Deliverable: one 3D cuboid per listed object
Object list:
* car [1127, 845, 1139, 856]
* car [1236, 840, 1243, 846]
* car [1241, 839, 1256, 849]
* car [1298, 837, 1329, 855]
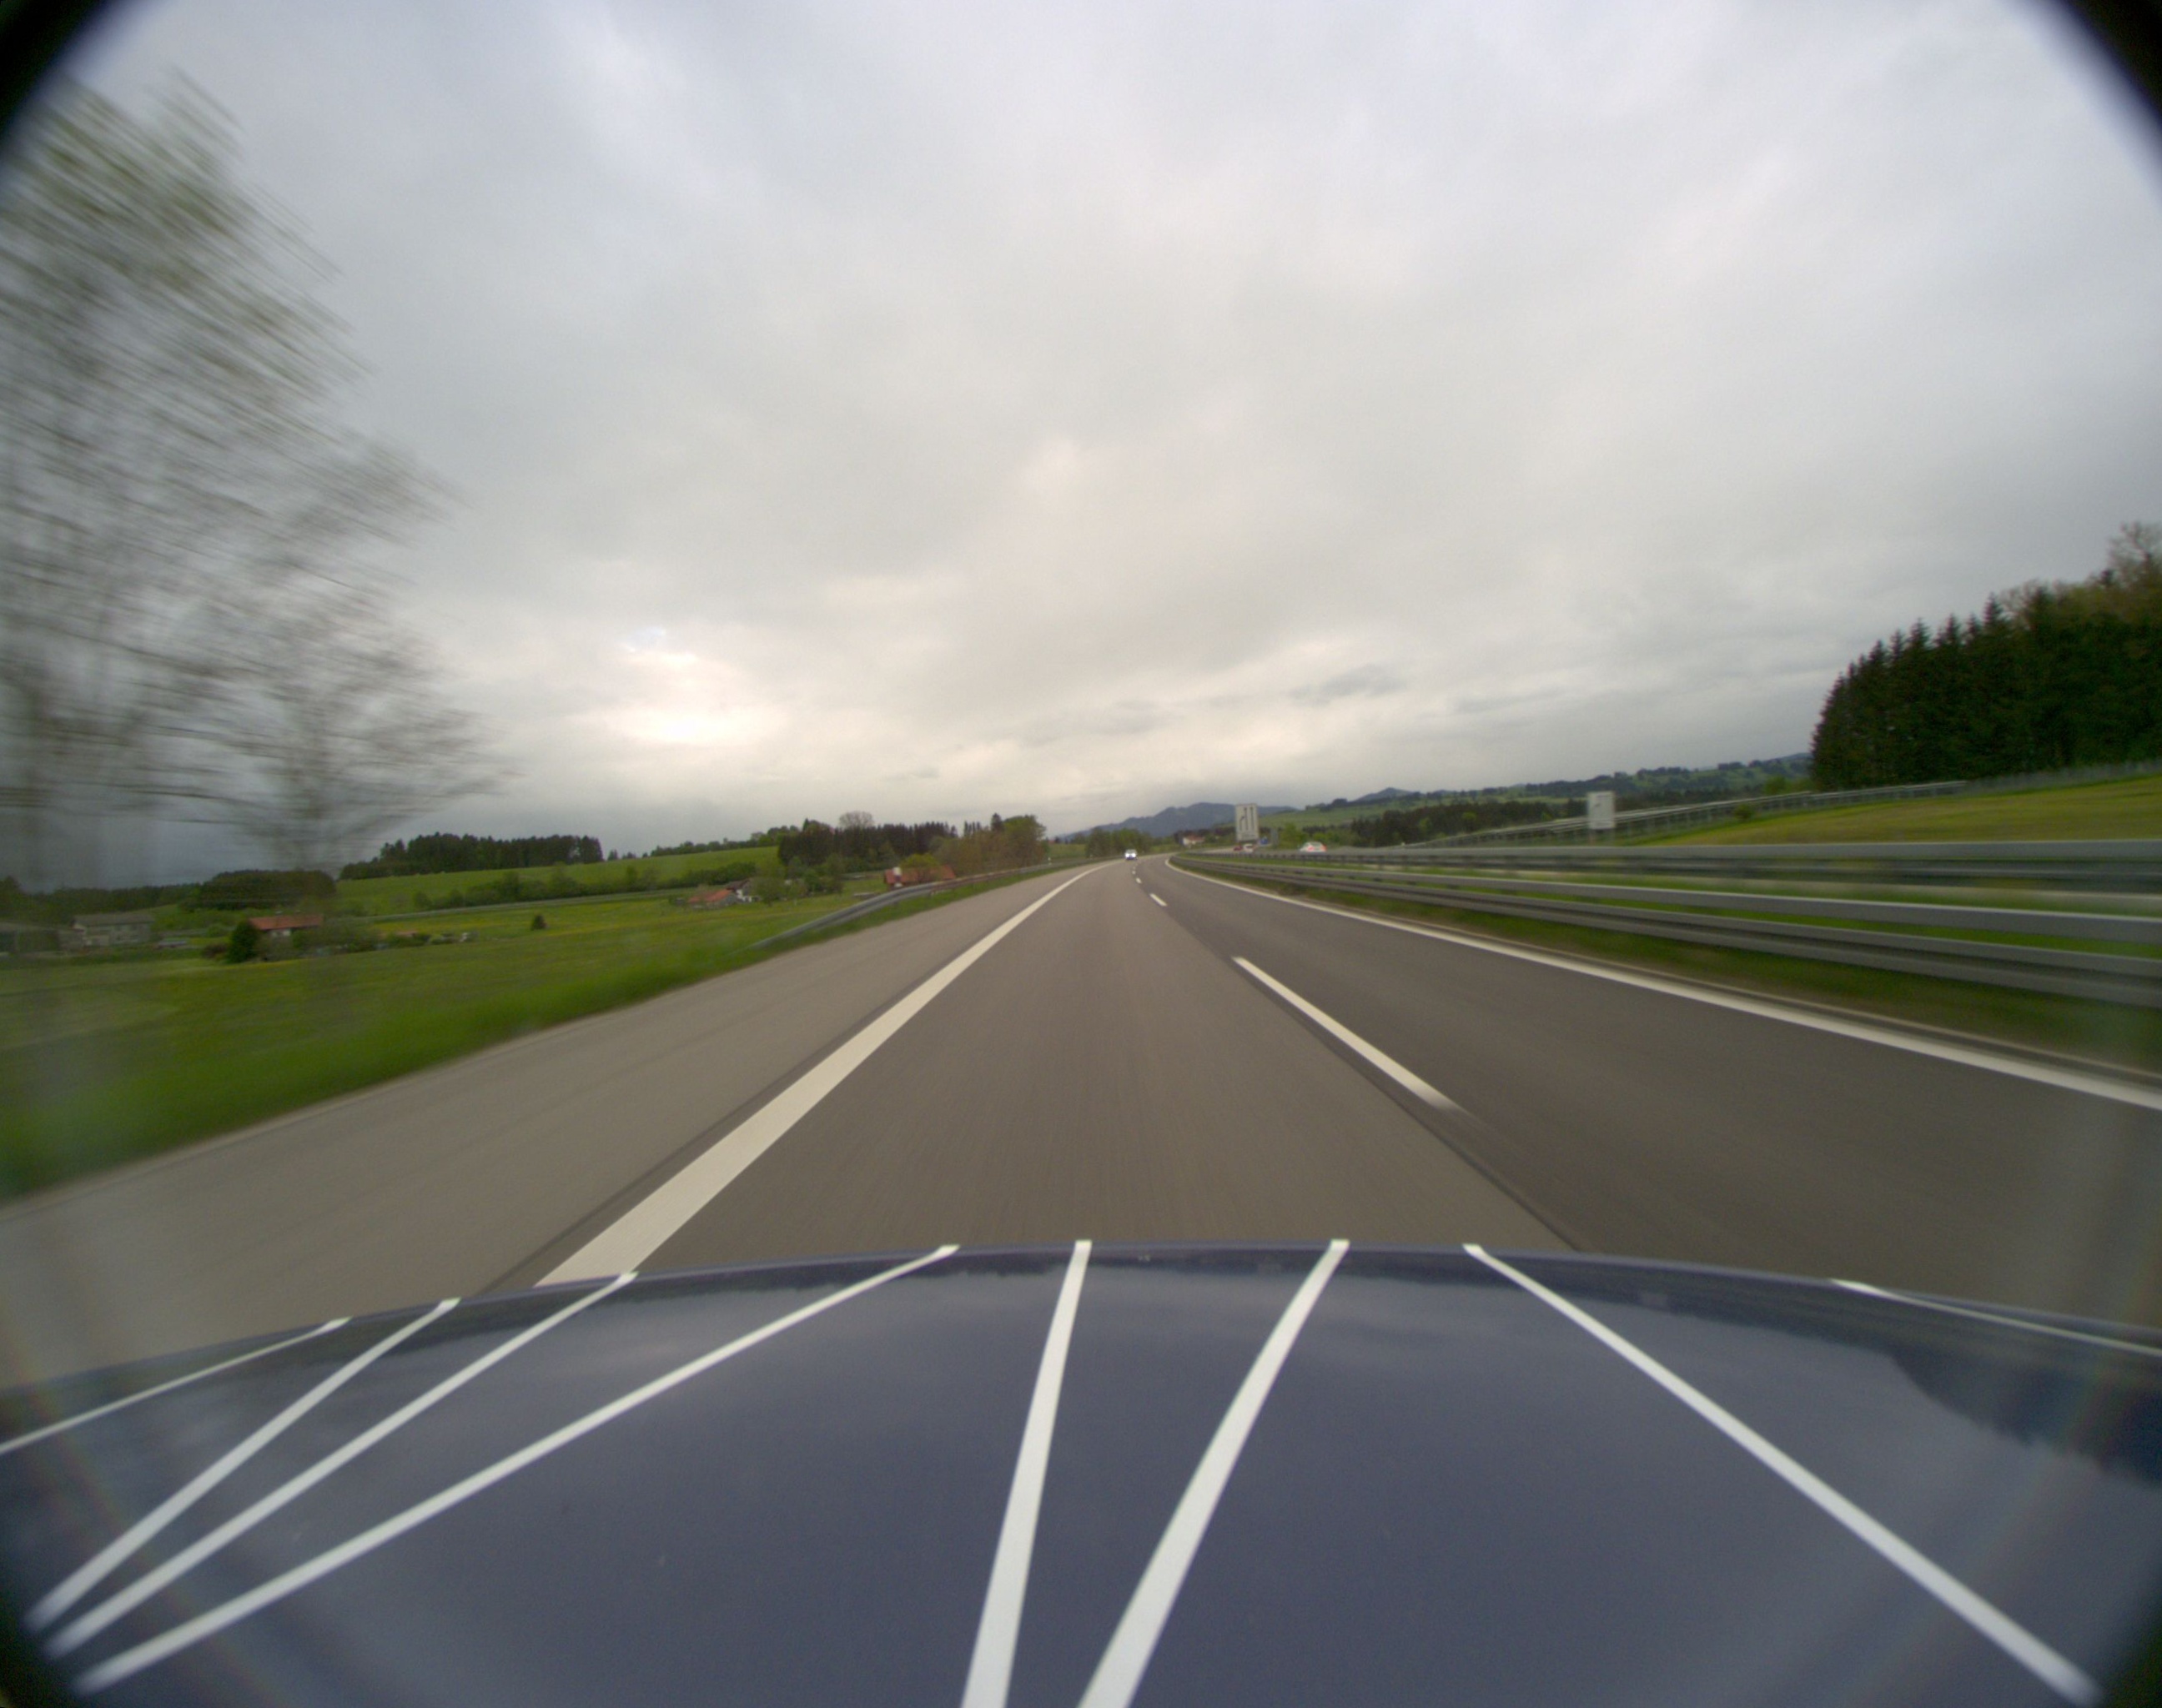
[{"bbox_3d":[9.584,-0.579,138.943,2.020,1.899,4.222,-2,0,5],"label":"car"},{"bbox_3d":[48.513,-3.343,232.208,1.997,1.431,5.004,-5,0,14],"label":"car"},{"bbox_3d":[29.714,-1.775,135.023,1.997,1.676,4.629,-5,0,7],"label":"car"},{"bbox_3d":[24.339,-0.790,79.655,2.039,1.680,5.057,-5,0,5],"label":"car"}]
